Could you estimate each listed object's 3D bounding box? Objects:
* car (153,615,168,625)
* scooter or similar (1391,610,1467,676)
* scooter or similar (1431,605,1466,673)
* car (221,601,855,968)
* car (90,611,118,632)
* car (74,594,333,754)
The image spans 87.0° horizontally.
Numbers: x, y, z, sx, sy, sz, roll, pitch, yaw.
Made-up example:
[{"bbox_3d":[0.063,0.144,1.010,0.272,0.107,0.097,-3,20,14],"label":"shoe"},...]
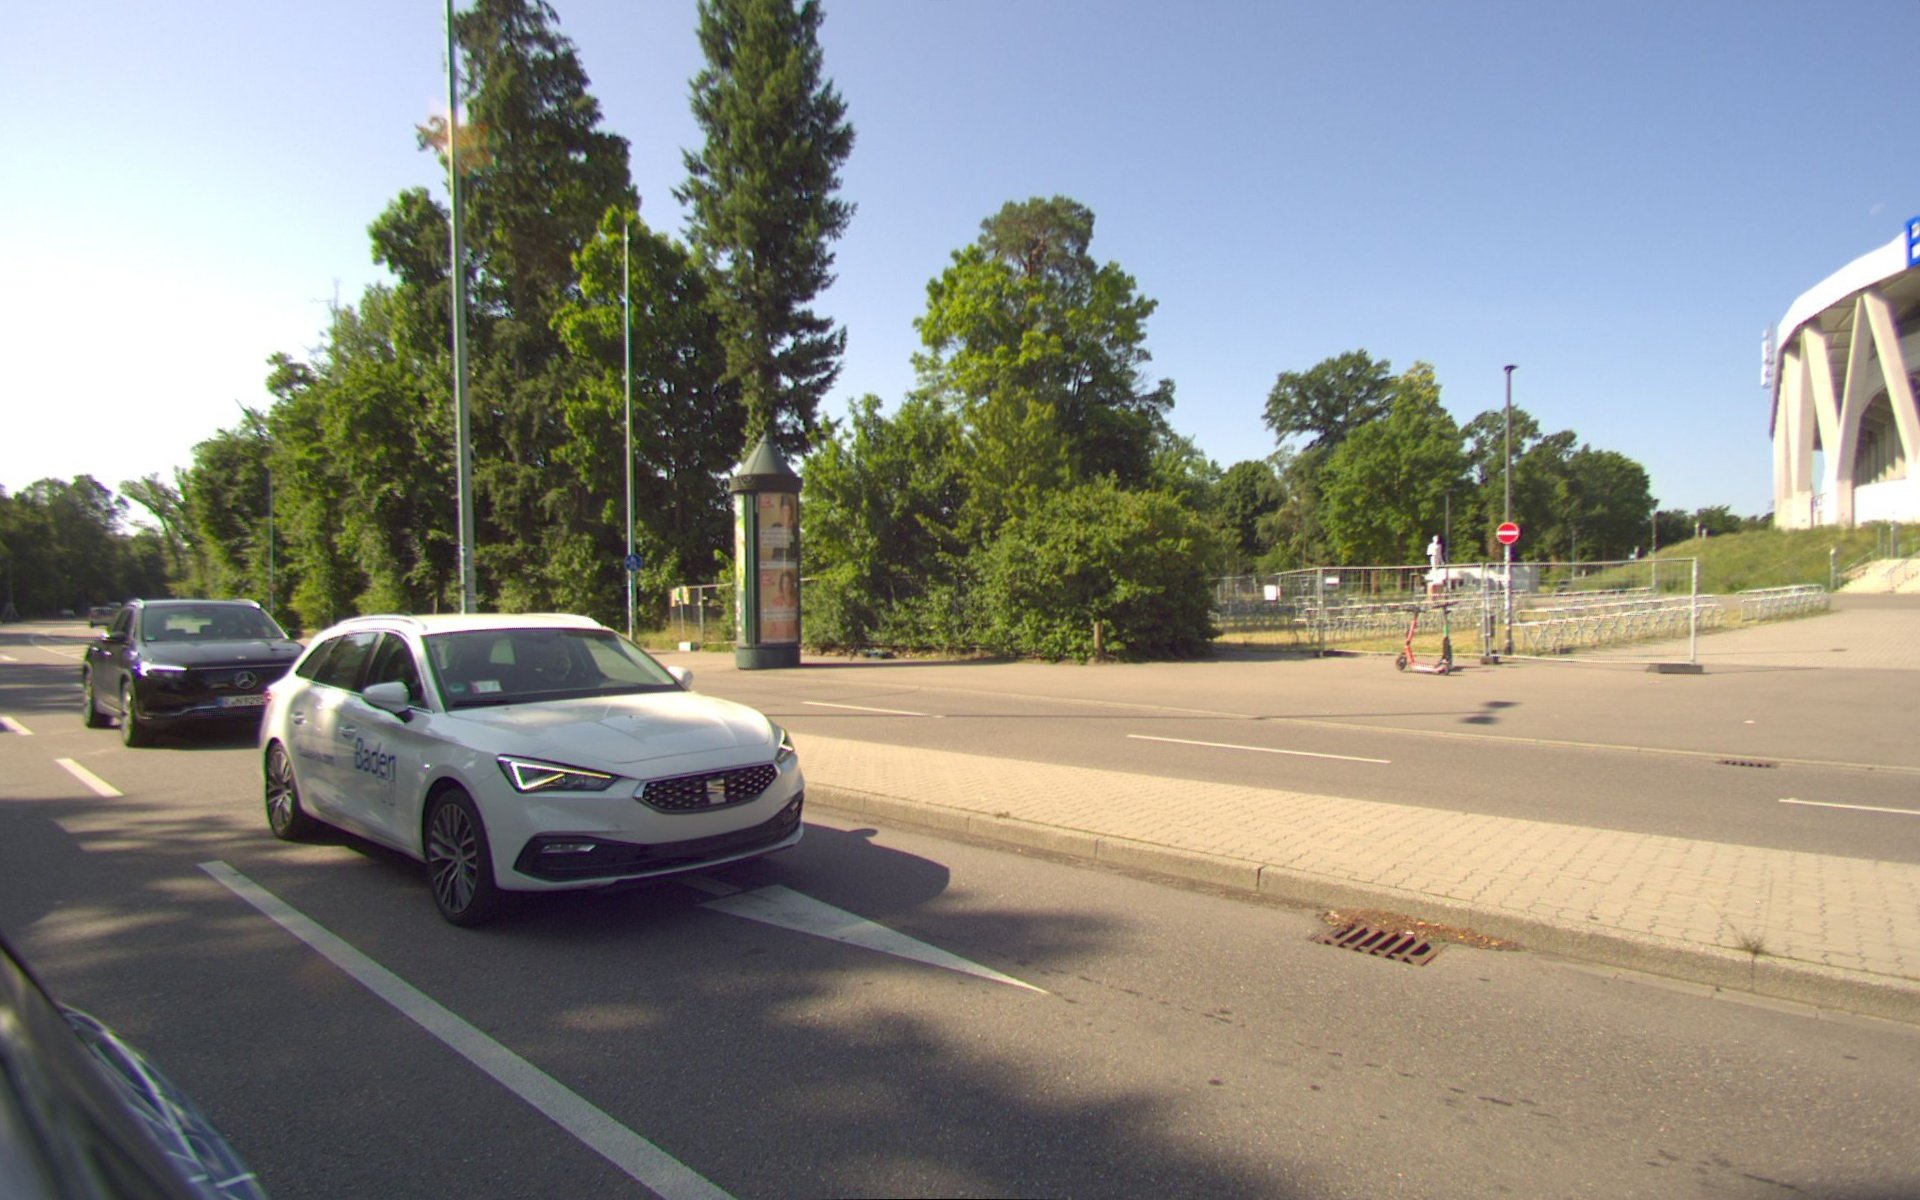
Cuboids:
[{"bbox_3d":[-133.049,3.287,168.448,1.829,1.630,4.006,-1,0,-40],"label":"car"},{"bbox_3d":[8.605,0.777,18.580,0.390,1.154,1.197,-1,0,-43],"label":"scooter or similar"},{"bbox_3d":[9.215,0.712,19.113,0.393,1.231,1.075,-1,0,17],"label":"scooter or similar"},{"bbox_3d":[-2.866,0.758,6.184,4.718,1.437,1.707,-1,-1,42],"label":"car"},{"bbox_3d":[-80.947,2.044,95.655,1.850,1.874,4.005,-1,0,-42],"label":"car"},{"bbox_3d":[-9.299,0.809,12.306,4.273,1.608,1.785,-2,-2,43],"label":"car"}]
